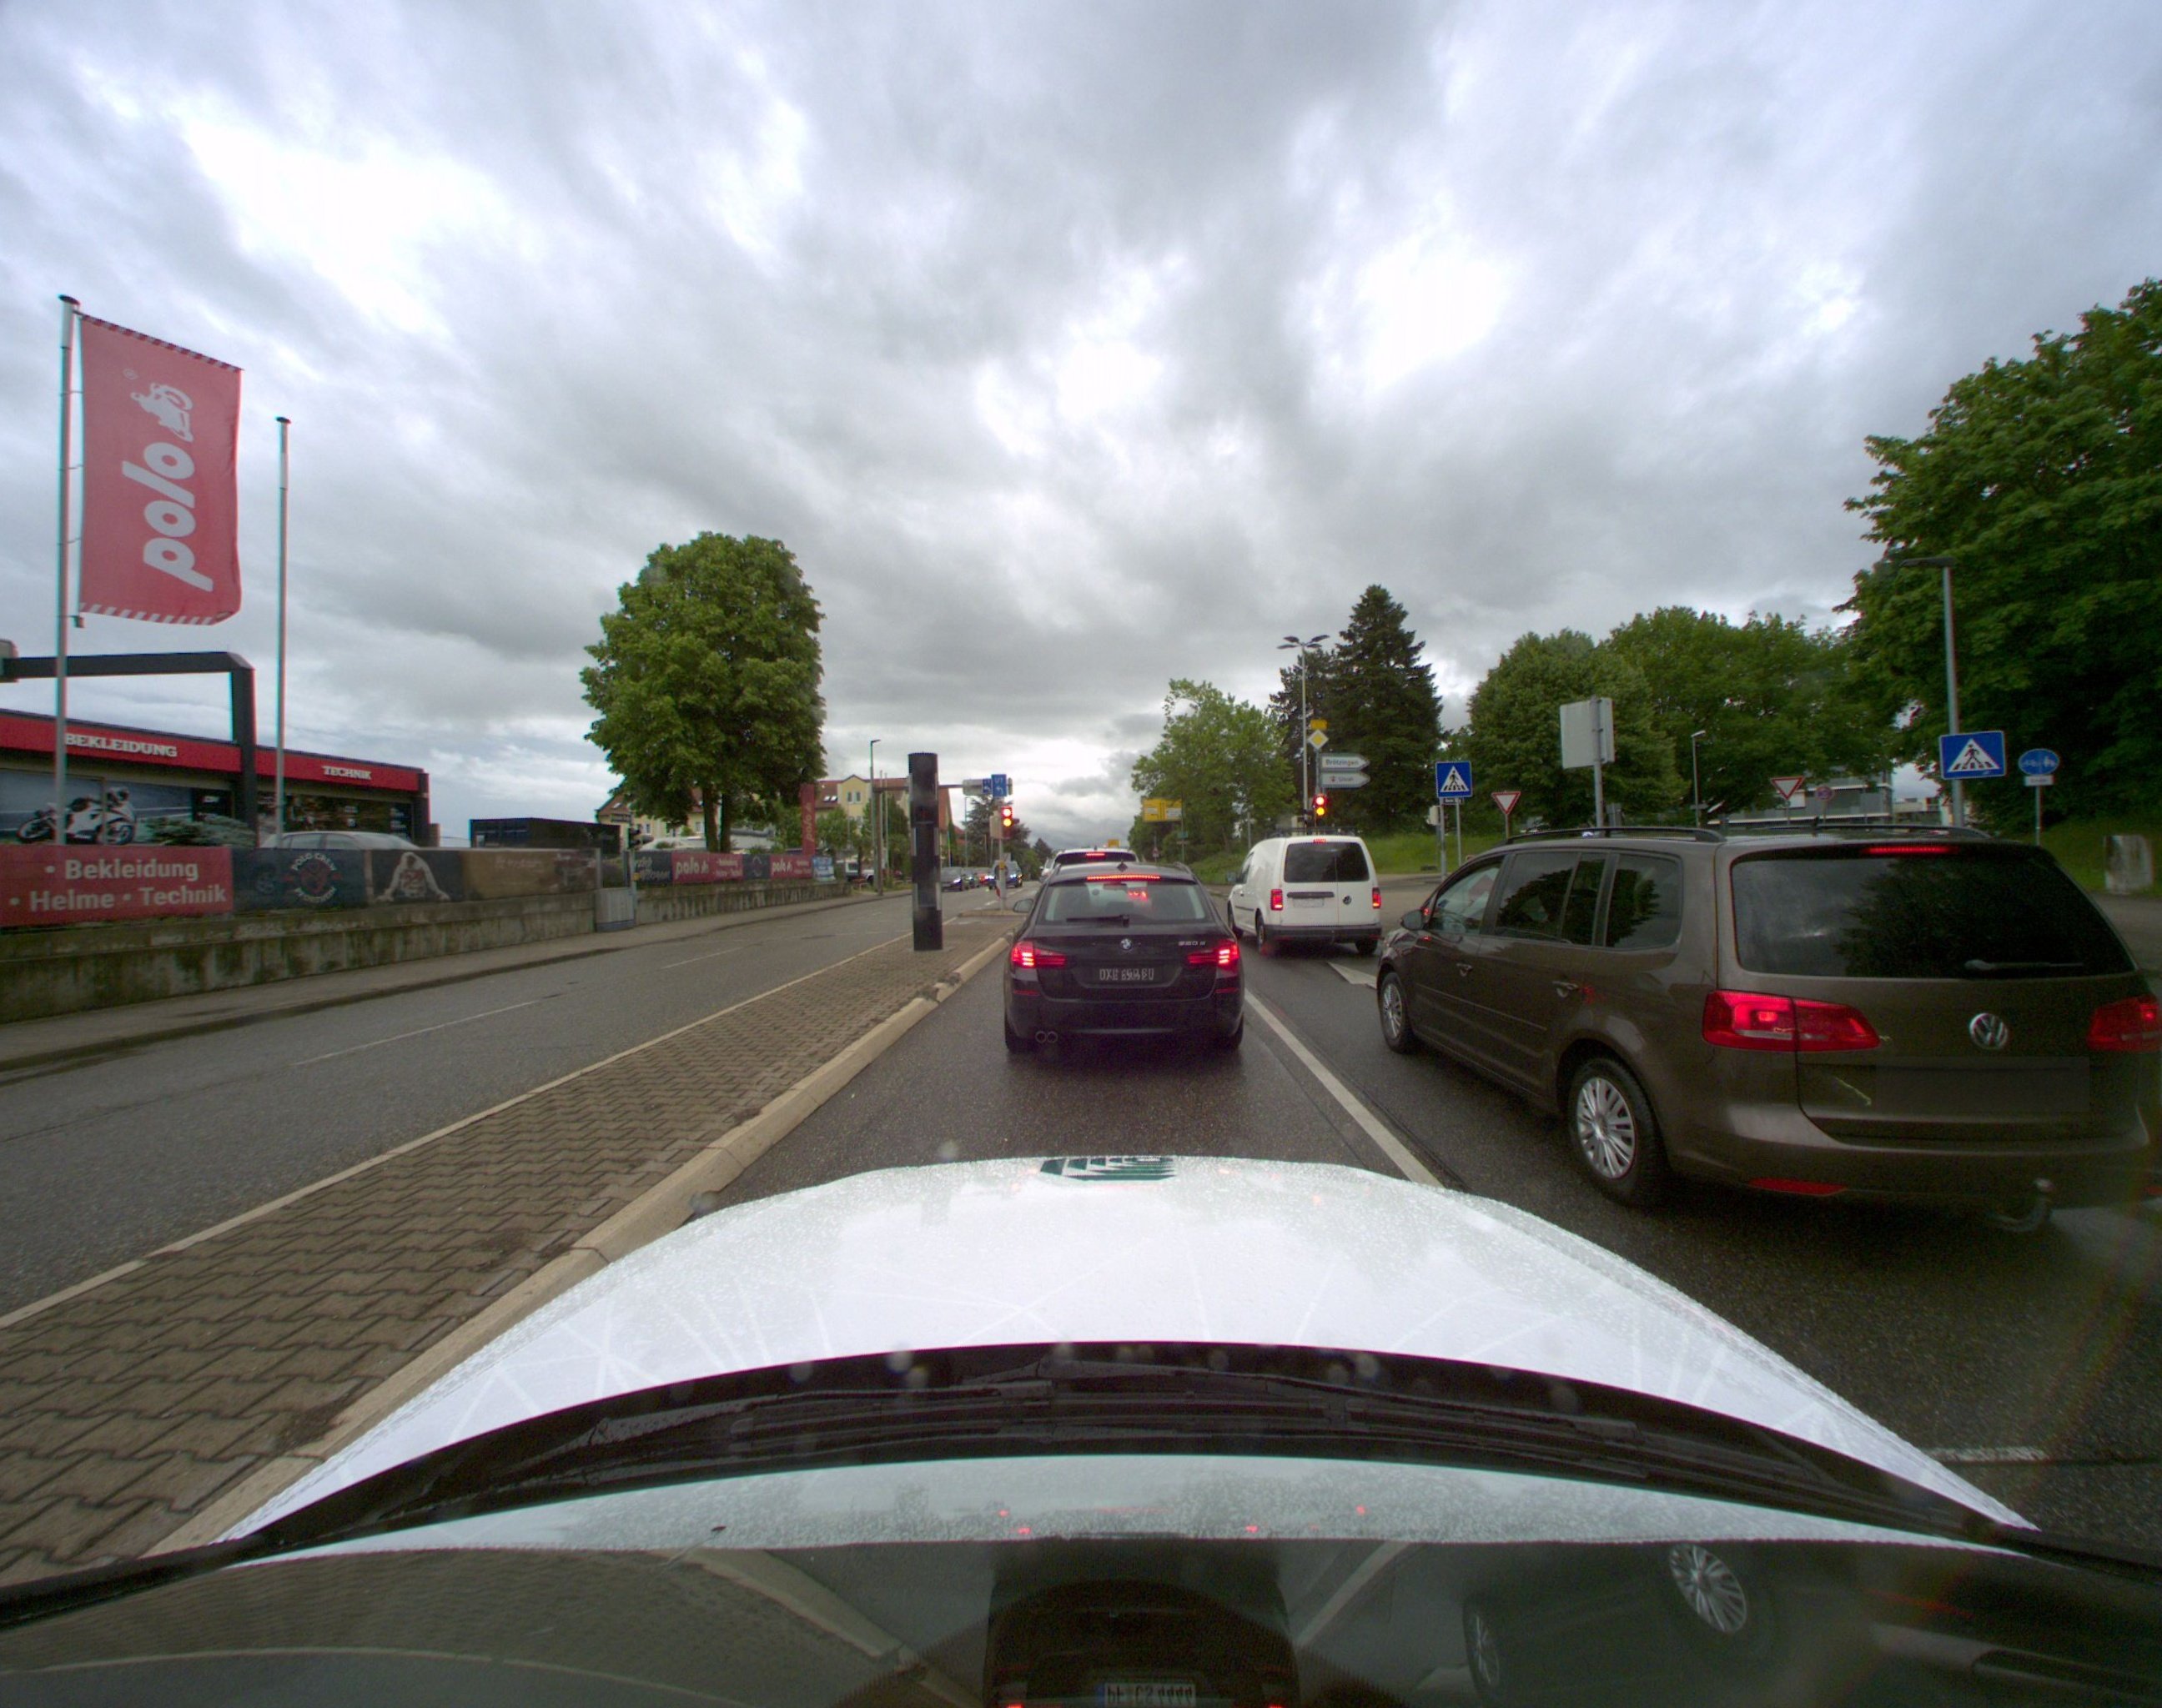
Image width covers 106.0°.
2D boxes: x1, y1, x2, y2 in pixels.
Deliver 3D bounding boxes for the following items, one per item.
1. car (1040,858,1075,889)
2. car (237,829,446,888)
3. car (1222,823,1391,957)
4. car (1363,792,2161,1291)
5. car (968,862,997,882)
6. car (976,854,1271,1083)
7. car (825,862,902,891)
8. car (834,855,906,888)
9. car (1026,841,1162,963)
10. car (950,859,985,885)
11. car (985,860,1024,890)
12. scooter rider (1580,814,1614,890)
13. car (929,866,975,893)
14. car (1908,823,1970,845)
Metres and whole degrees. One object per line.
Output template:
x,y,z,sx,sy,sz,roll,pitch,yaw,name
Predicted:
-1.339,1.128,48.505,1.833,1.649,4.297,-2,0,1,car
-16.897,0.098,18.718,3.376,1.167,1.453,-2,0,-1,car
3.523,0.503,13.434,1.758,1.877,3.806,-1,0,1,car
3.119,0.623,4.646,1.740,1.609,3.982,-1,0,2,car
-7.492,1.375,62.083,1.617,1.332,3.947,-3,0,1,car
0.344,0.747,7.298,1.891,1.441,4.002,-1,0,2,car
-15.686,1.639,58.833,5.024,1.702,1.982,-3,-3,-27,car
-14.609,1.203,56.432,4.410,2.013,1.982,-3,0,-27,car
0.246,0.657,13.274,1.861,1.673,4.002,-1,0,2,car
-7.809,1.235,56.251,1.670,1.618,4.001,-3,0,1,car
-4.660,1.236,49.867,1.833,1.649,4.297,-3,0,1,car
13.610,-0.047,21.500,0.499,1.965,0.548,-2,0,1,scooter rider
-7.761,1.500,49.331,1.910,1.379,4.127,-3,0,2,car
55.169,-1.307,52.355,4.009,1.255,1.709,-2,0,-28,car
